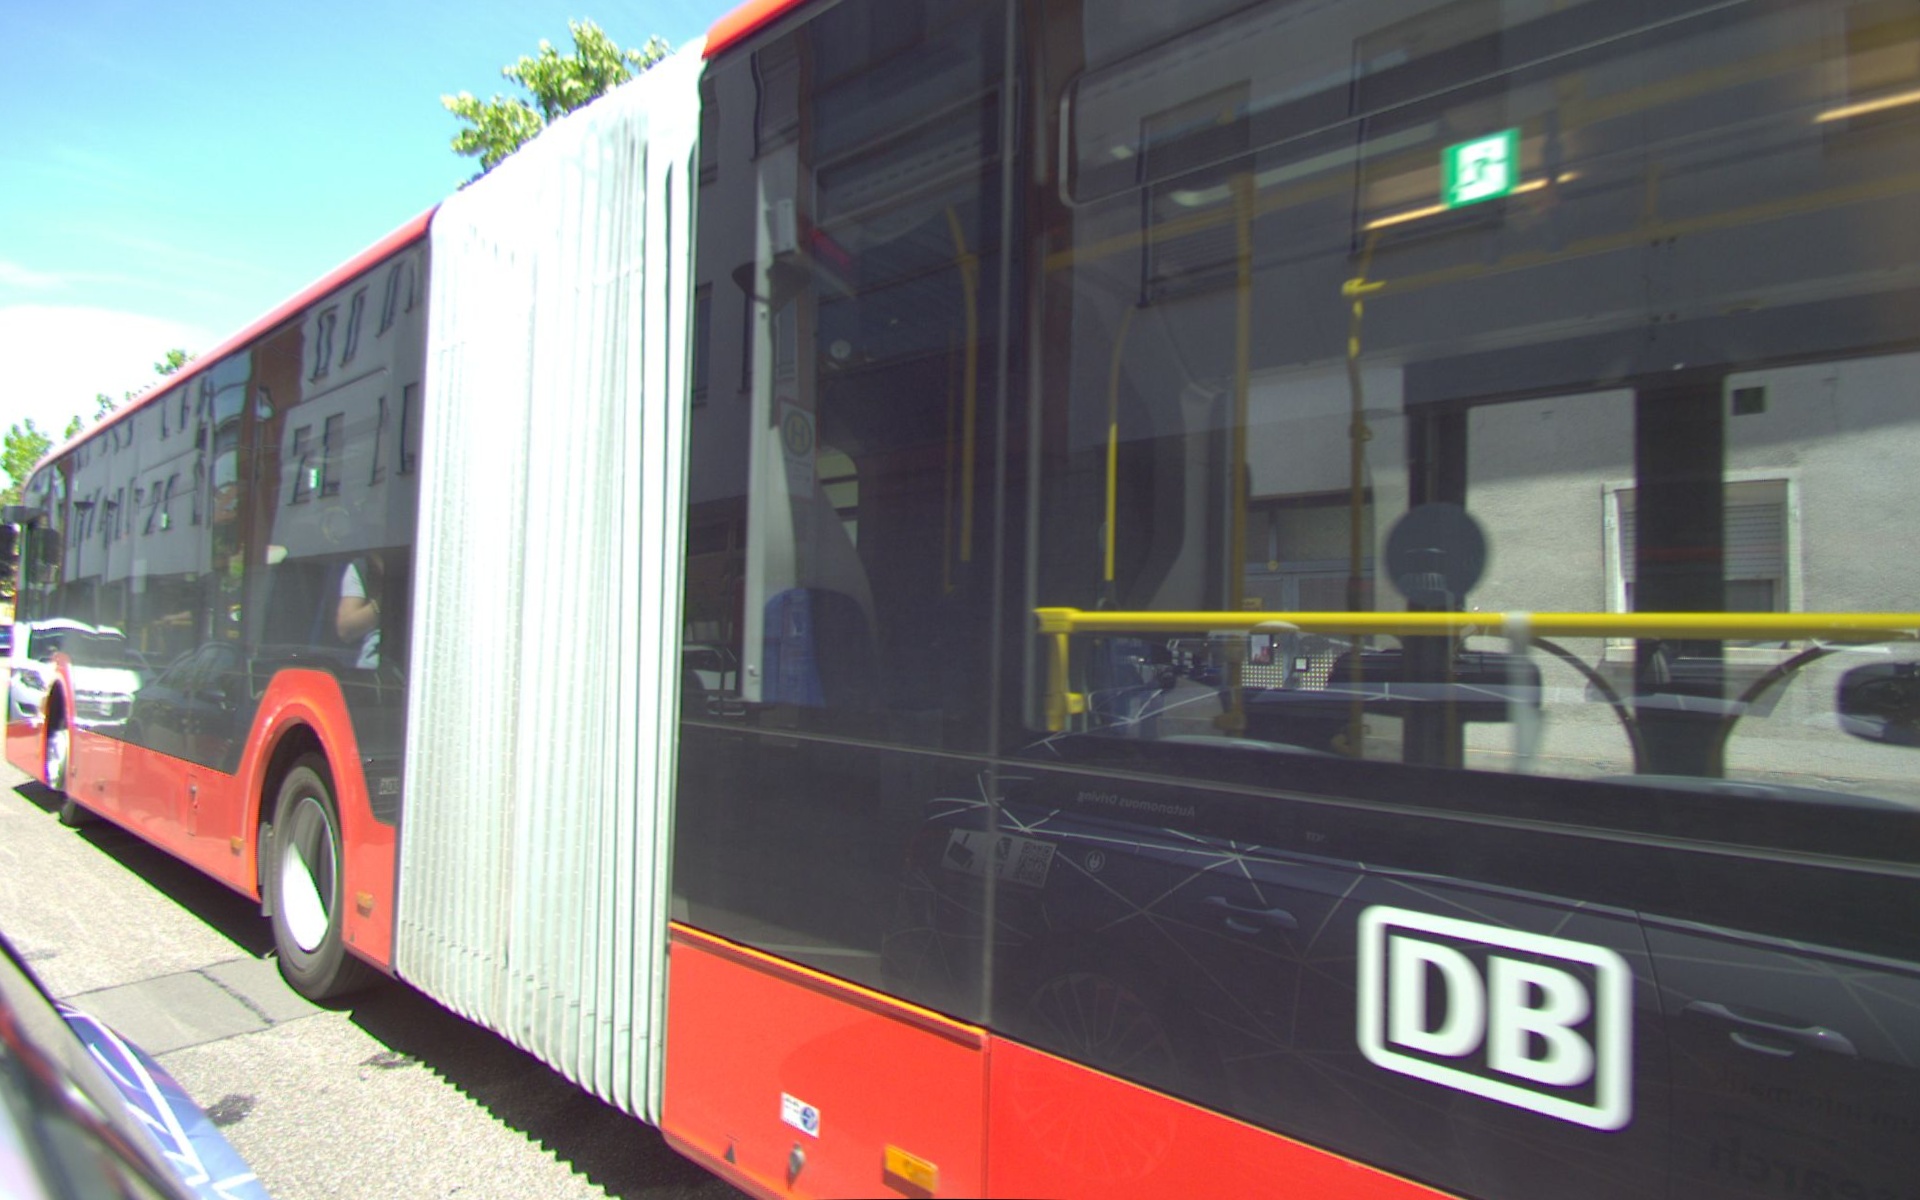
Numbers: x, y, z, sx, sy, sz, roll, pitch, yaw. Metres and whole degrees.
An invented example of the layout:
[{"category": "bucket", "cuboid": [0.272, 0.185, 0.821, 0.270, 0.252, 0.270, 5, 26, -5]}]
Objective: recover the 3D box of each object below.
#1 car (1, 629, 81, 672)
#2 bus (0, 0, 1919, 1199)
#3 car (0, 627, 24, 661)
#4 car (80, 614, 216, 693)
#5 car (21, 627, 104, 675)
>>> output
[{"category": "car", "cuboid": [-32.943, 1.789, 36.231, 4.097, 1.441, 1.628, -1, -4, 42]}, {"category": "bus", "cuboid": [-0.771, -0.081, 4.075, 17.795, 3.147, 2.641, -1, -3, 41]}, {"category": "car", "cuboid": [-42.607, 1.913, 44.565, 4.156, 1.418, 1.639, -1, -3, 42]}, {"category": "car", "cuboid": [-19.658, 1.251, 24.433, 4.517, 1.739, 1.757, -1, -3, 41]}, {"category": "car", "cuboid": [-28.428, 1.596, 32.031, 3.408, 1.441, 1.537, -1, -3, 41]}]
